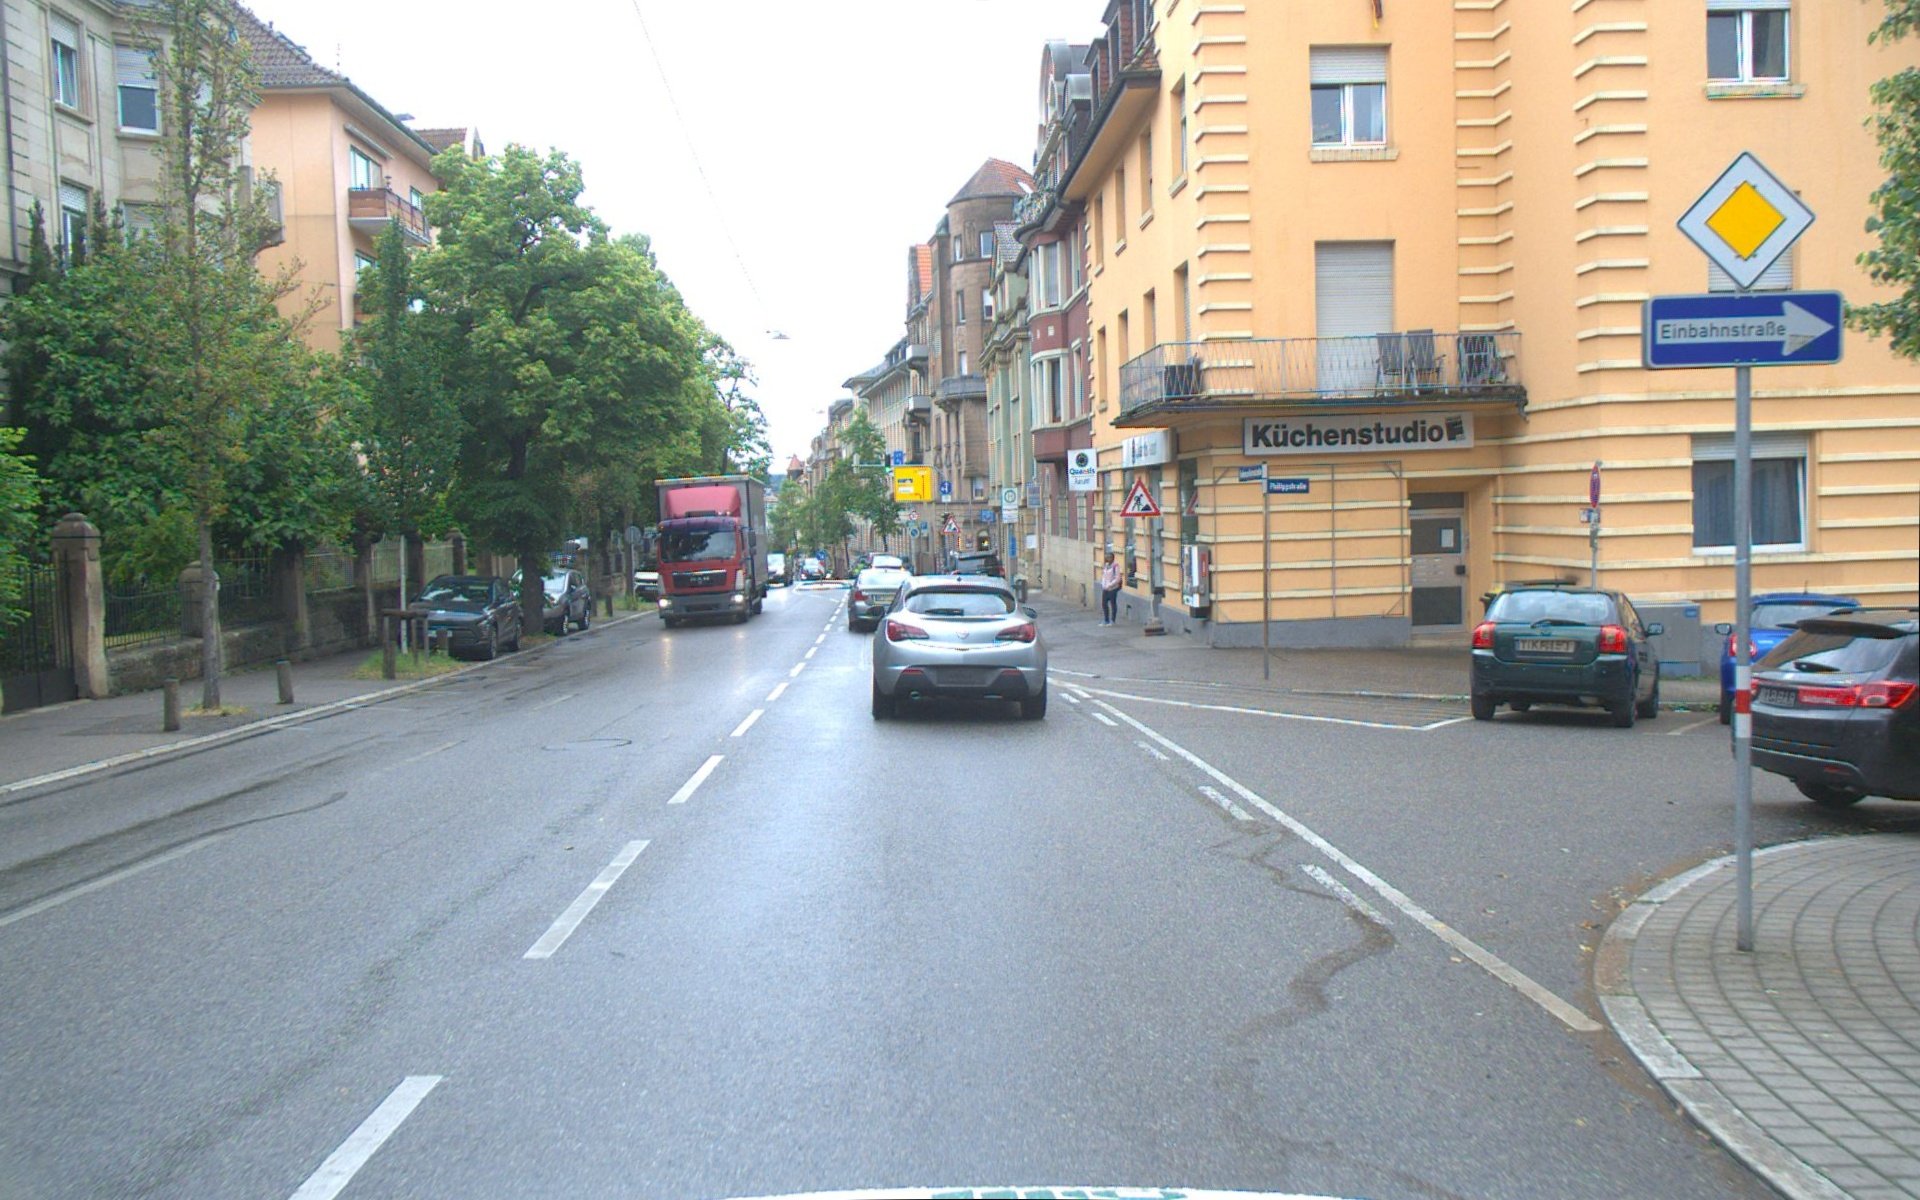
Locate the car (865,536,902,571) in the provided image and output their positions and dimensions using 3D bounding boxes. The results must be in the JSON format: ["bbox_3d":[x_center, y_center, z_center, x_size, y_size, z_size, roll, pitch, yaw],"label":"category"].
[{"bbox_3d":[-3.774,-2.298,81.948,1.623,1.569,3.664,-4,1,-1],"label":"car"}]

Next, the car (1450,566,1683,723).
[{"bbox_3d":[6.980,0.469,18.773,1.815,1.494,4.103,3,1,29],"label":"car"}]

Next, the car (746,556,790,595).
[{"bbox_3d":[-9.086,-1.185,78.615,1.737,1.543,4.589,-3,4,-3],"label":"car"}]

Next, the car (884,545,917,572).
[{"bbox_3d":[-3.915,-2.667,107.936,1.627,1.569,3.657,-4,1,-9],"label":"car"}]

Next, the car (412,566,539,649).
[{"bbox_3d":[-9.876,0.100,34.026,1.708,1.586,4.297,1,1,-6],"label":"car"}]

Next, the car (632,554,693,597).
[{"bbox_3d":[-11.360,-0.949,63.421,1.706,1.586,4.301,0,1,-2],"label":"car"}]

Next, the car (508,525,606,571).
[{"bbox_3d":[-21.501,-2.803,88.276,4.564,2.083,2.028,4,4,12],"label":"car"}]

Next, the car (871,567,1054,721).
[{"bbox_3d":[-0.023,0.387,18.147,1.774,1.475,3.868,-1,1,-2],"label":"car"}]

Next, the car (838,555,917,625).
[{"bbox_3d":[-1.922,-0.263,39.036,1.736,1.530,3.868,-1,1,-2],"label":"car"}]

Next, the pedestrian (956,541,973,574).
[{"bbox_3d":[0.220,-2.134,83.793,0.584,1.611,0.666,-3,3,16],"label":"pedestrian"}]

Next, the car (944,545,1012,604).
[{"bbox_3d":[0.539,-0.835,53.150,1.840,1.657,4.696,-5,1,-2],"label":"car"}]

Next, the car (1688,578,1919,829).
[{"bbox_3d":[7.643,0.667,11.620,4.187,1.524,1.999,1,2,-8],"label":"car"}]

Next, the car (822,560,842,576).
[{"bbox_3d":[-12.493,-3.119,161.560,1.607,1.454,3.369,-3,1,-10],"label":"car"}]

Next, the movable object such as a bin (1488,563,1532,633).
[{"bbox_3d":[8.872,-0.030,26.692,0.495,1.074,0.513,0,6,-3],"label":"movable object such as a bin"}]

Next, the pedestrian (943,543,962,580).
[{"bbox_3d":[-0.392,-1.977,84.034,0.702,1.804,0.666,-3,3,15],"label":"pedestrian"}]

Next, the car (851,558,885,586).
[{"bbox_3d":[-5.703,-1.731,102.711,1.627,1.569,3.657,-4,1,-9],"label":"car"}]

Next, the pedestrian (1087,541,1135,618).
[{"bbox_3d":[3.281,-0.442,36.002,0.755,1.617,0.707,-3,1,-22],"label":"pedestrian"}]

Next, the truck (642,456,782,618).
[{"bbox_3d":[-6.751,-1.734,46.394,2.595,3.920,9.304,-4,2,-2],"label":"truck"}]

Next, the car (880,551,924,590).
[{"bbox_3d":[-2.423,-1.224,68.593,1.736,1.530,3.868,-1,1,-2],"label":"car"}]

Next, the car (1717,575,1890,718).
[{"bbox_3d":[9.996,0.514,19.669,1.670,1.518,3.632,1,-1,27],"label":"car"}]

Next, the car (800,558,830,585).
[{"bbox_3d":[-9.002,-1.800,102.509,1.780,1.543,4.544,-1,2,-5],"label":"car"}]

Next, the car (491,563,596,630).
[{"bbox_3d":[-10.465,-0.122,41.849,1.706,1.586,4.301,0,1,-2],"label":"car"}]
